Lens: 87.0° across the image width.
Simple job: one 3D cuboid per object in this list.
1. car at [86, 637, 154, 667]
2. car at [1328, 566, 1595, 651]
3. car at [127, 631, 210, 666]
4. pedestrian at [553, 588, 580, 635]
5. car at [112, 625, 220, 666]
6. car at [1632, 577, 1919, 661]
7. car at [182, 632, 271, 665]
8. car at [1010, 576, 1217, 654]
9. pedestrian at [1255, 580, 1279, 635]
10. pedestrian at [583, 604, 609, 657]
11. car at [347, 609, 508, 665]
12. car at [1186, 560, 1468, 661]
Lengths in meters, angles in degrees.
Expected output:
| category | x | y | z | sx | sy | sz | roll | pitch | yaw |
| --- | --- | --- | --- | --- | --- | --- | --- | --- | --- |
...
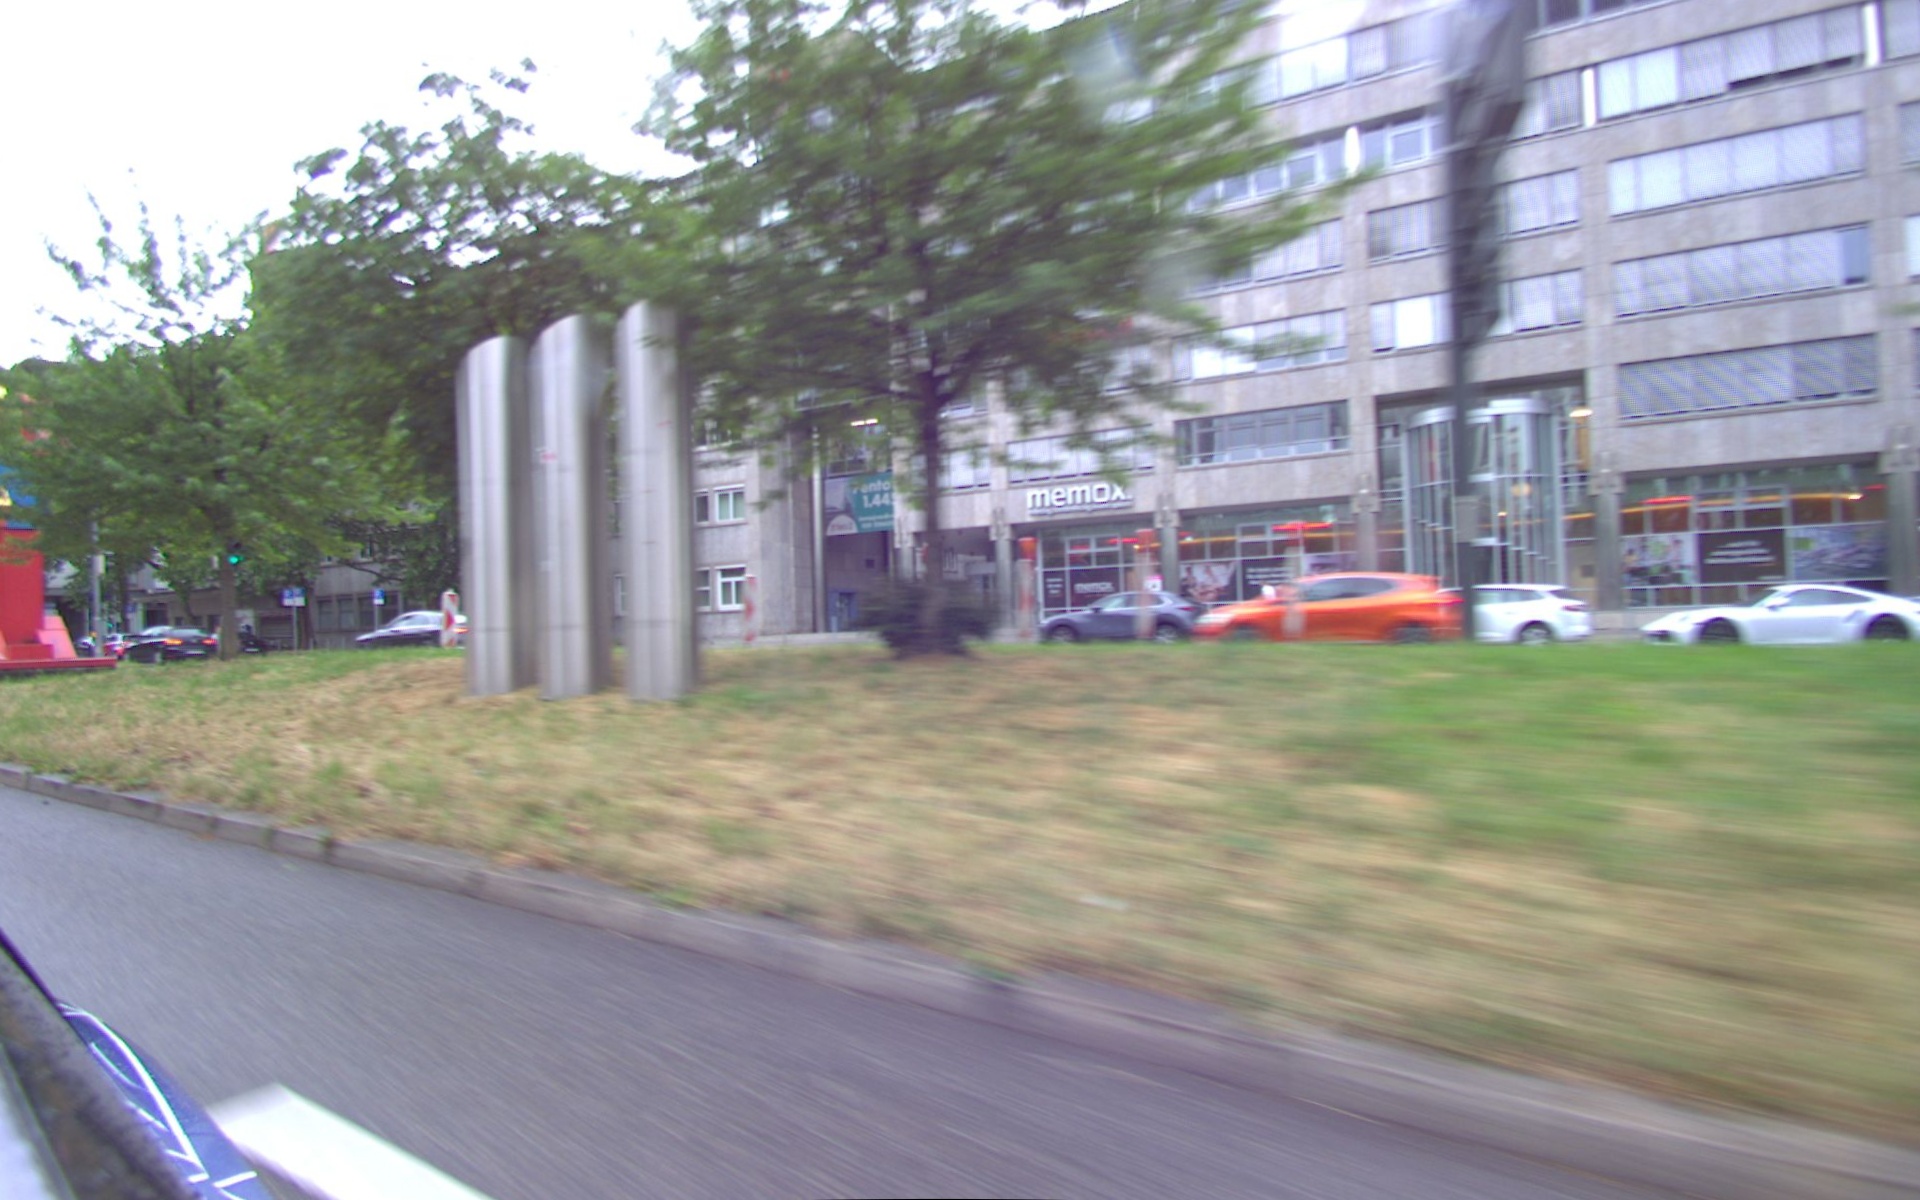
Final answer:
| category | x | y | z | sx | sy | sz | roll | pitch | yaw |
| --- | --- | --- | --- | --- | --- | --- | --- | --- | --- |
| car | -43.806 | 2.714 | 52.762 | 3.679 | 1.514 | 1.673 | -2 | -2 | 31 |
| car | 10.616 | 0.223 | 21.621 | 4.895 | 1.634 | 1.763 | -2 | -1 | 32 |
| car | -39.420 | 2.400 | 50.392 | 4.451 | 1.634 | 1.848 | -2 | -2 | 31 |
| pedestrian | -13.737 | 0.397 | 35.367 | 0.618 | 1.641 | 0.600 | -3 | -1 | 35 |
| car | -29.095 | 1.669 | 37.056 | 3.985 | 1.425 | 1.777 | -2 | -3 | 31 |
| car | 15.278 | 0.381 | 18.670 | 4.668 | 1.412 | 1.762 | -2 | -2 | 31 |
| car | -34.774 | 2.317 | 47.946 | 4.550 | 1.440 | 1.848 | -2 | -2 | 31 |
| car | 3.798 | 0.423 | 25.389 | 4.775 | 1.739 | 1.848 | -2 | -2 | 31 |
| pedestrian | 10.312 | 0.242 | 33.967 | 0.527 | 1.801 | 0.714 | -3 | -1 | 32 |
| pedestrian | -12.753 | 1.063 | 35.447 | 0.720 | 1.801 | 0.523 | -3 | -1 | 35 |
| car | -14.804 | 1.046 | 28.090 | 4.548 | 1.440 | 1.849 | -2 | -2 | 30 |
| car | 5.993 | 0.229 | 16.602 | 4.113 | 1.440 | 1.850 | -2 | -2 | 28 |
